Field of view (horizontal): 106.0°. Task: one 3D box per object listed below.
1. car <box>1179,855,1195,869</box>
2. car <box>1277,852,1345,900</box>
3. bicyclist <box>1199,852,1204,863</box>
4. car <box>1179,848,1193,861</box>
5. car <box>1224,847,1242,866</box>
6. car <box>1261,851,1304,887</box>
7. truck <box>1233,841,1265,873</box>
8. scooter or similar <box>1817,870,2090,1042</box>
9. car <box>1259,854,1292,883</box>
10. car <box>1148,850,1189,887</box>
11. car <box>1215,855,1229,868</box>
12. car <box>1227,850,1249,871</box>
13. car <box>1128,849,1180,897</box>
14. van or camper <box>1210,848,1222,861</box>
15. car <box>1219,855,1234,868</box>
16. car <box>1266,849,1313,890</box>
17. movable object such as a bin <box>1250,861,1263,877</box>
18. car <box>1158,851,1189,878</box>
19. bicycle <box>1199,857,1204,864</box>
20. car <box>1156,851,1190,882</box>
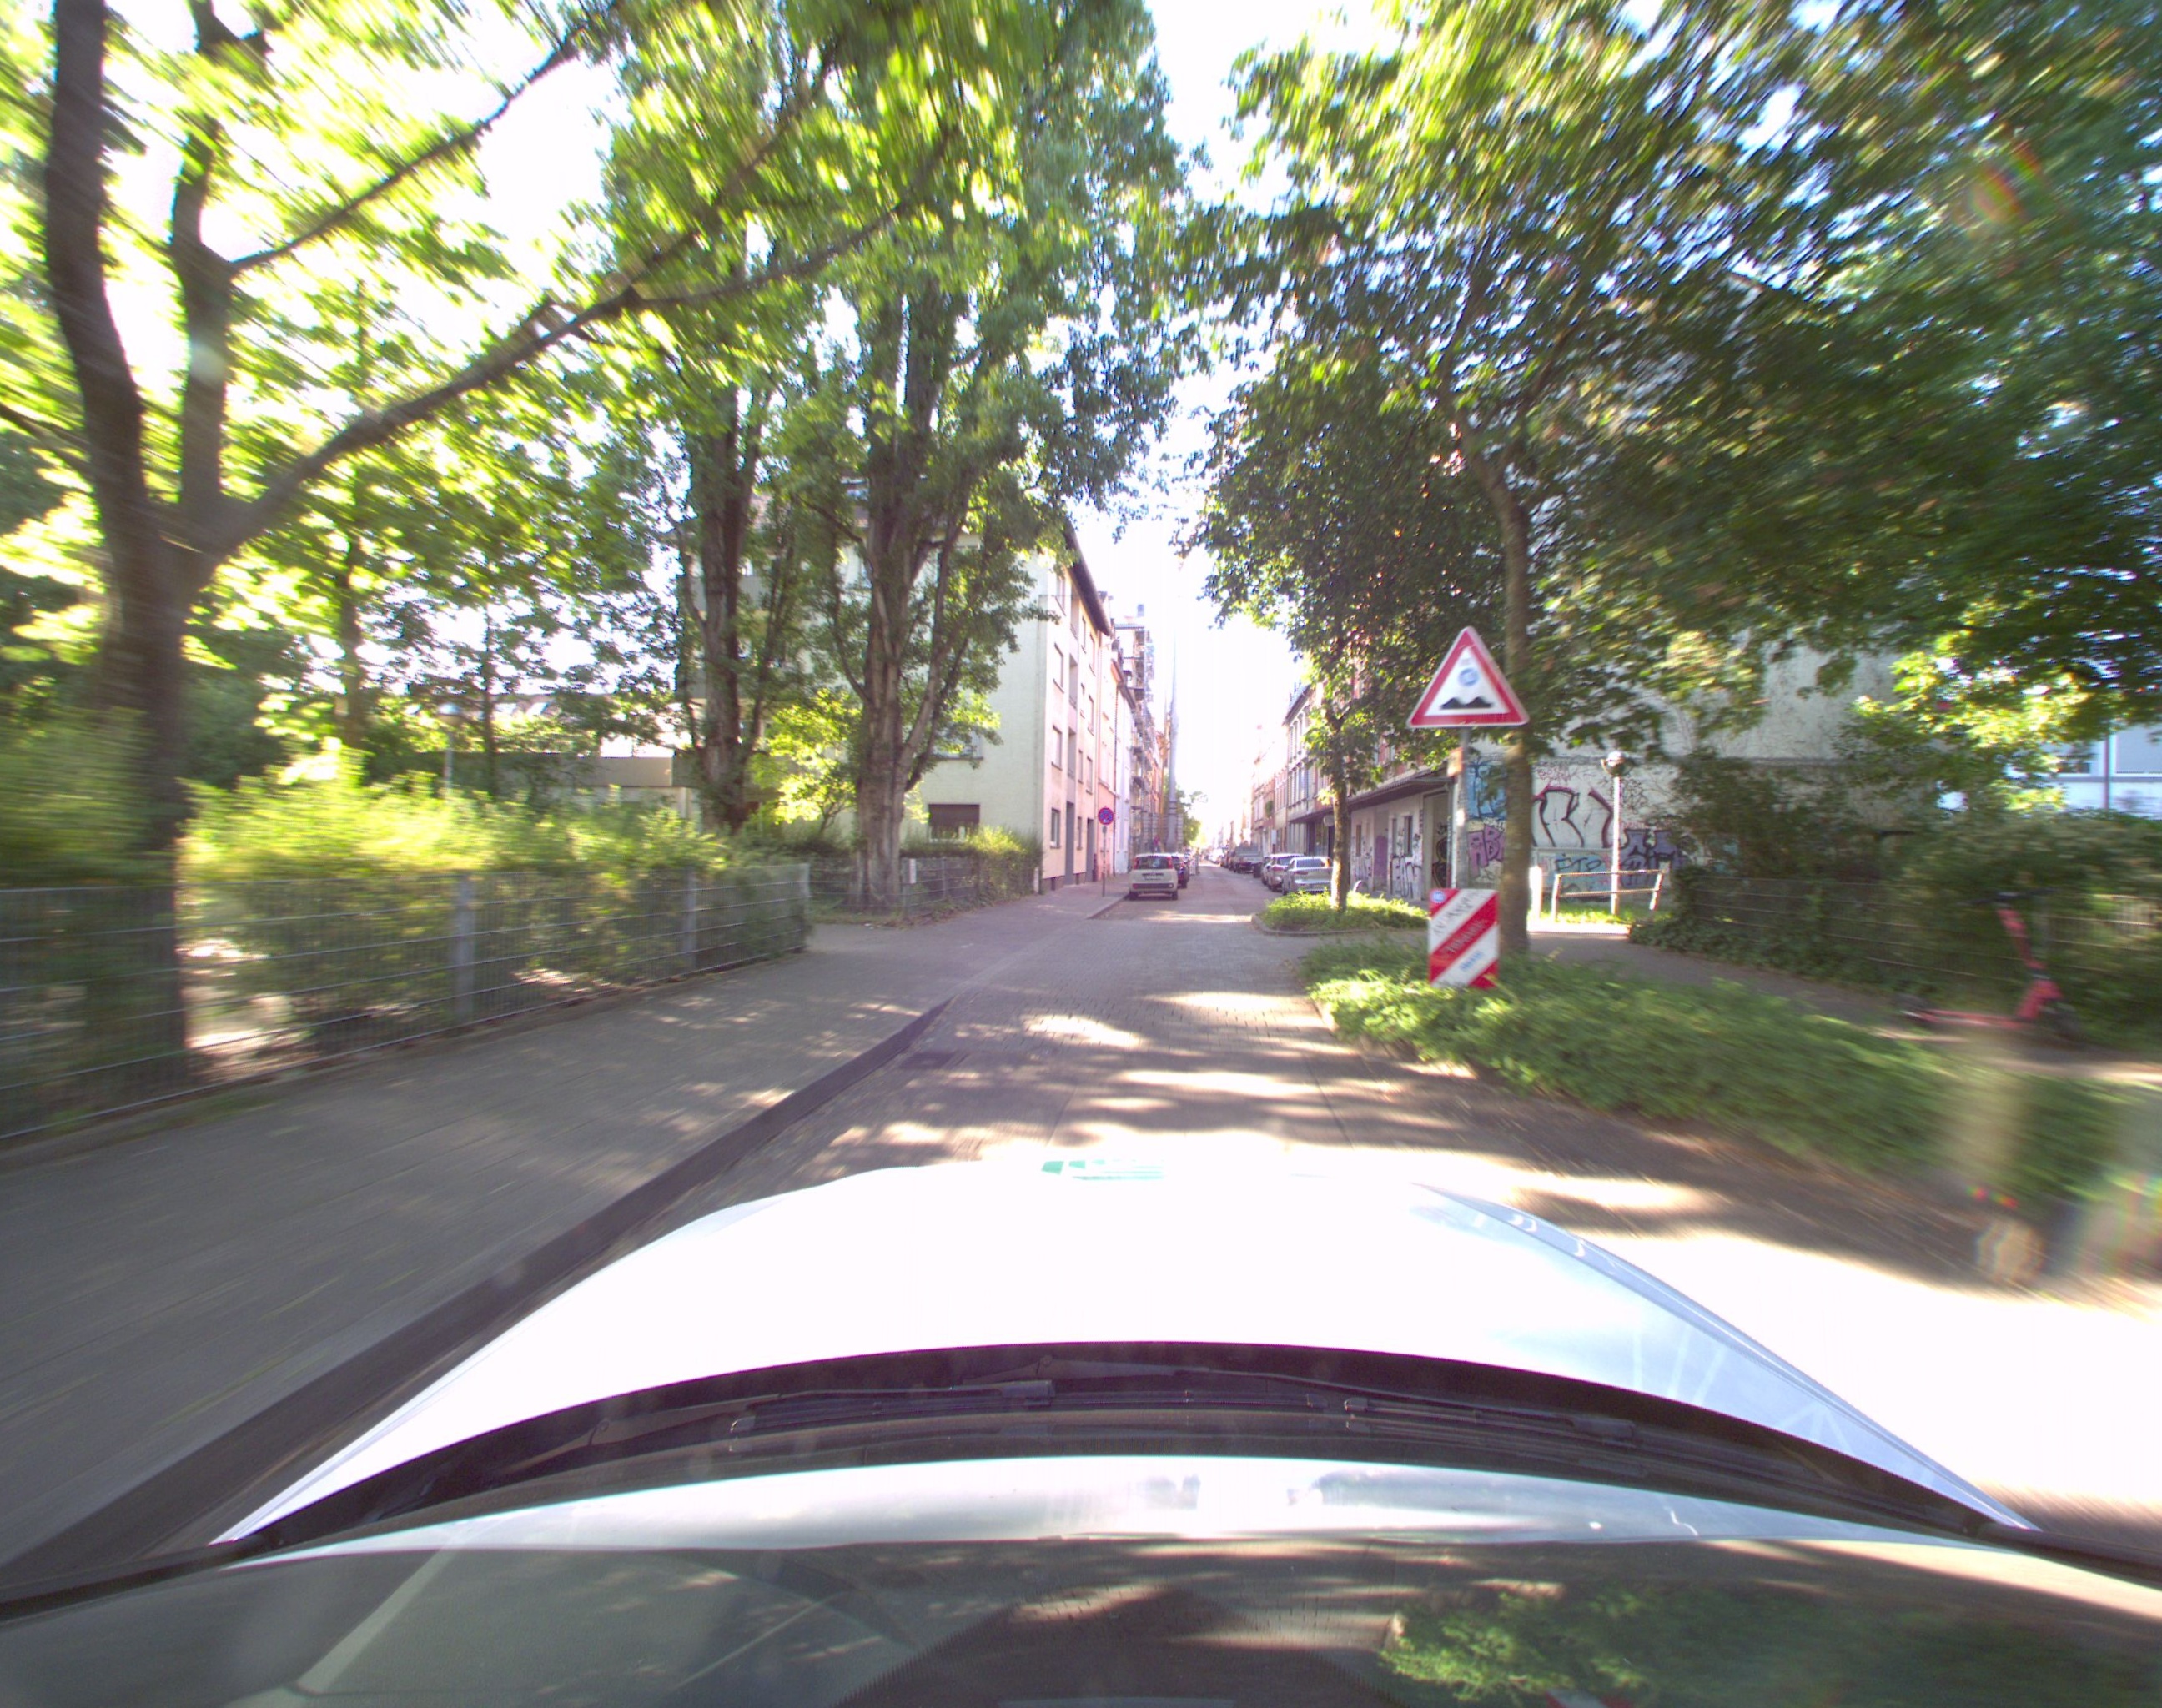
[{"bbox_3d":[11.639,0.859,89.499,1.666,1.445,3.875,0,0,6],"label":"car"},{"bbox_3d":[8.130,0.735,29.124,1.712,1.562,4.407,1,0,7],"label":"car"},{"bbox_3d":[20.740,0.619,139.953,0.726,1.761,0.837,1,0,8],"label":"bicyclist"},{"bbox_3d":[12.824,0.096,99.636,1.666,1.571,3.875,0,0,6],"label":"car"},{"bbox_3d":[16.888,0.314,90.858,1.666,2.031,3.875,0,0,6],"label":"car"},{"bbox_3d":[10.058,0.724,40.871,1.736,1.675,4.351,0,0,9],"label":"car"},{"bbox_3d":[13.961,0.258,67.994,2.178,2.607,5.244,0,0,7],"label":"truck"},{"bbox_3d":[7.254,0.774,6.862,0.547,1.262,1.462,-1,0,-23],"label":"scooter or similar"},{"bbox_3d":[10.953,0.784,46.121,1.587,1.560,3.824,0,0,10],"label":"car"},{"bbox_3d":[3.958,0.627,36.959,1.720,1.540,4.385,-1,0,6],"label":"car"},{"bbox_3d":[22.172,1.187,128.480,1.983,2.013,4.008,0,0,7],"label":"car"},{"bbox_3d":[15.102,0.608,78.458,1.666,1.963,4.115,0,0,6],"label":"car"},{"bbox_3d":[2.548,0.641,28.221,1.666,1.540,3.875,0,0,6],"label":"car"},{"bbox_3d":[25.998,0.090,156.906,1.985,2.508,4.207,0,0,4],"label":"van or camper"},{"bbox_3d":[18.558,0.933,104.007,1.666,1.571,3.875,-1,-1,6],"label":"car"},{"bbox_3d":[8.975,0.659,35.281,1.630,1.656,3.879,1,0,9],"label":"car"},{"bbox_3d":[12.028,1.025,55.850,0.790,1.056,0.661,1,0,8],"label":"movable object such as a bin"},{"bbox_3d":[5.443,0.604,47.667,1.665,1.477,4.618,0,0,8],"label":"car"},{"bbox_3d":[20.711,1.139,139.880,0.720,1.186,2.047,2,1,8],"label":"bicycle"},{"bbox_3d":[4.800,0.622,42.059,1.665,1.512,4.424,0,0,8],"label":"car"}]
